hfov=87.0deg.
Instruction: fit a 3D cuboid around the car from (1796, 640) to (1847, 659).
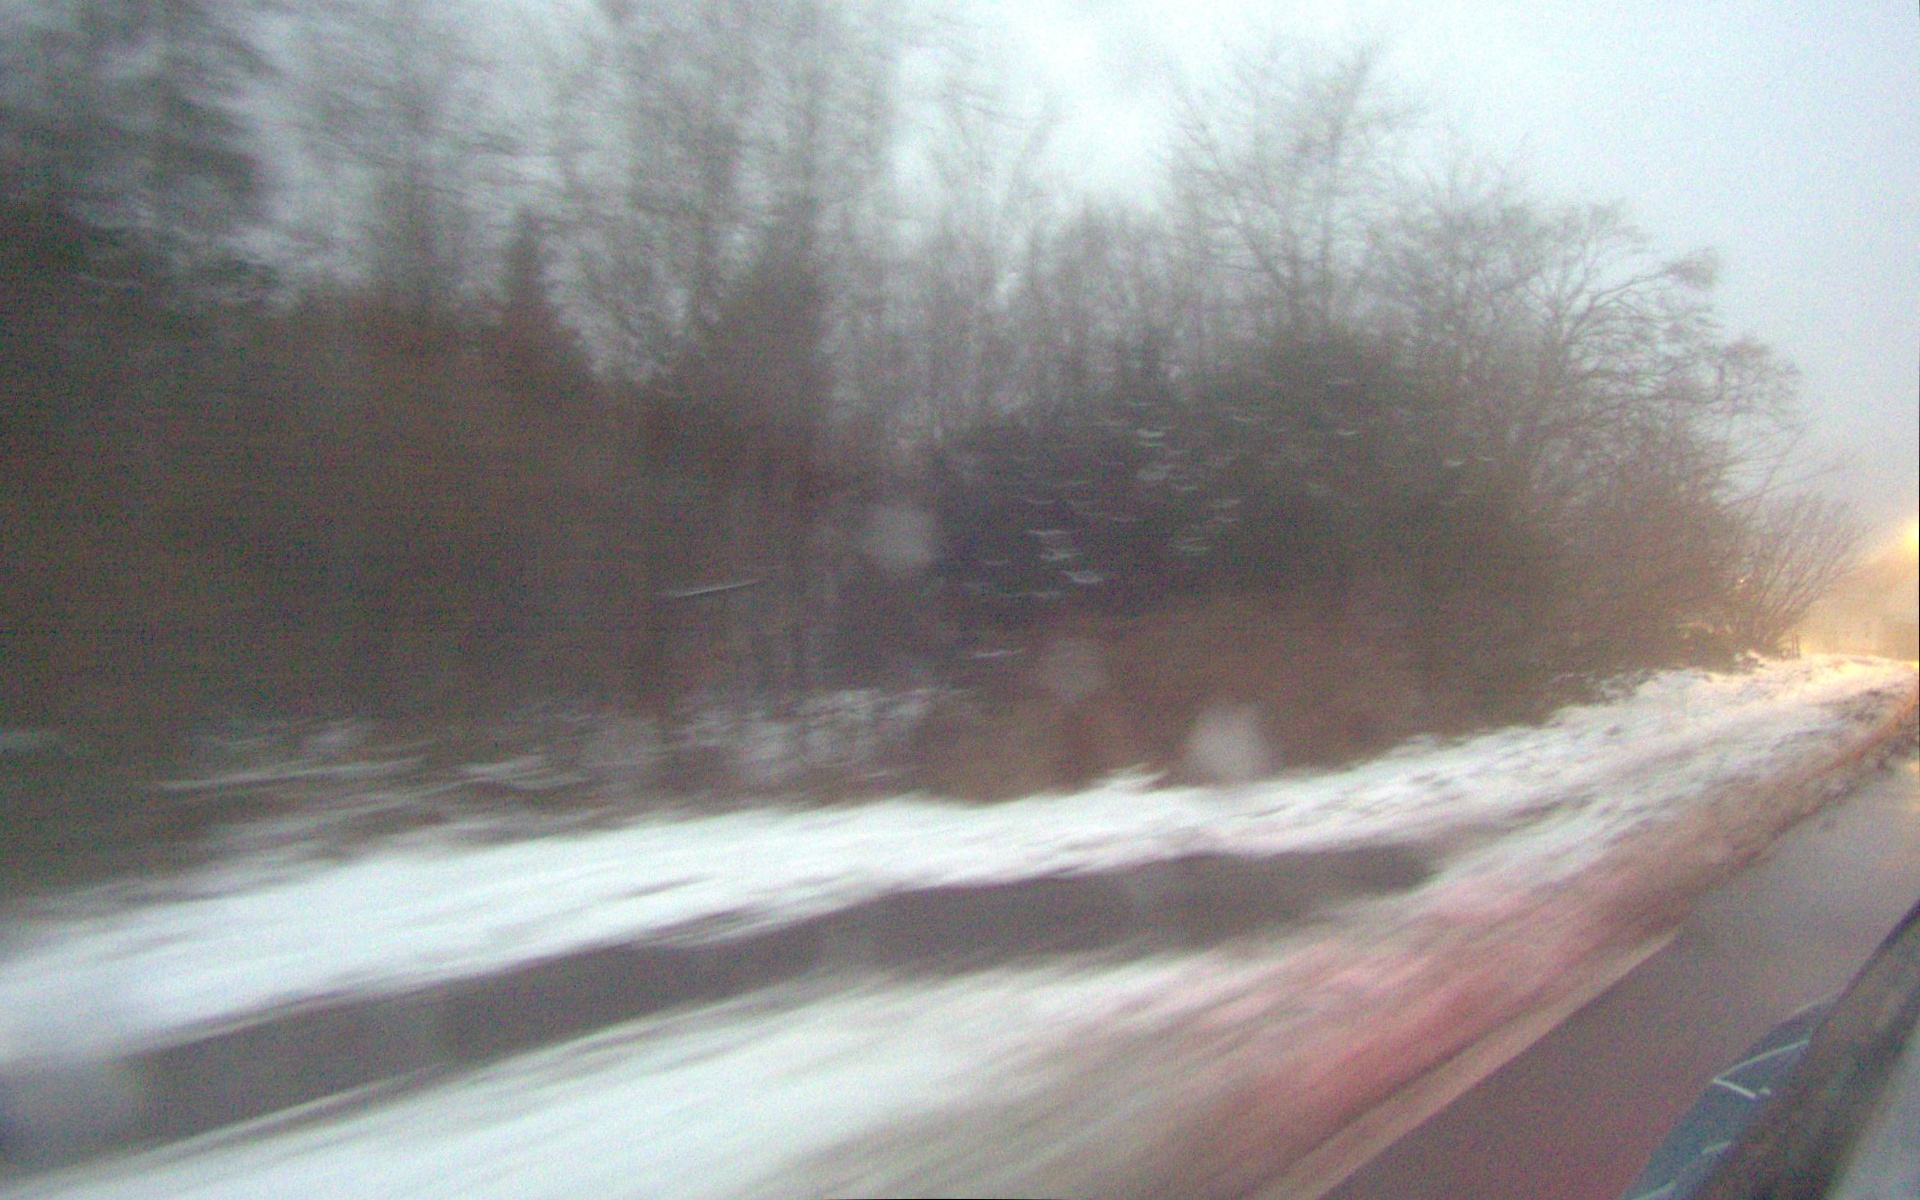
[{"bbox_3d":[71.057,4.081,83.547,1.864,1.445,5.340,-1,-4,26],"label":"car"}]
